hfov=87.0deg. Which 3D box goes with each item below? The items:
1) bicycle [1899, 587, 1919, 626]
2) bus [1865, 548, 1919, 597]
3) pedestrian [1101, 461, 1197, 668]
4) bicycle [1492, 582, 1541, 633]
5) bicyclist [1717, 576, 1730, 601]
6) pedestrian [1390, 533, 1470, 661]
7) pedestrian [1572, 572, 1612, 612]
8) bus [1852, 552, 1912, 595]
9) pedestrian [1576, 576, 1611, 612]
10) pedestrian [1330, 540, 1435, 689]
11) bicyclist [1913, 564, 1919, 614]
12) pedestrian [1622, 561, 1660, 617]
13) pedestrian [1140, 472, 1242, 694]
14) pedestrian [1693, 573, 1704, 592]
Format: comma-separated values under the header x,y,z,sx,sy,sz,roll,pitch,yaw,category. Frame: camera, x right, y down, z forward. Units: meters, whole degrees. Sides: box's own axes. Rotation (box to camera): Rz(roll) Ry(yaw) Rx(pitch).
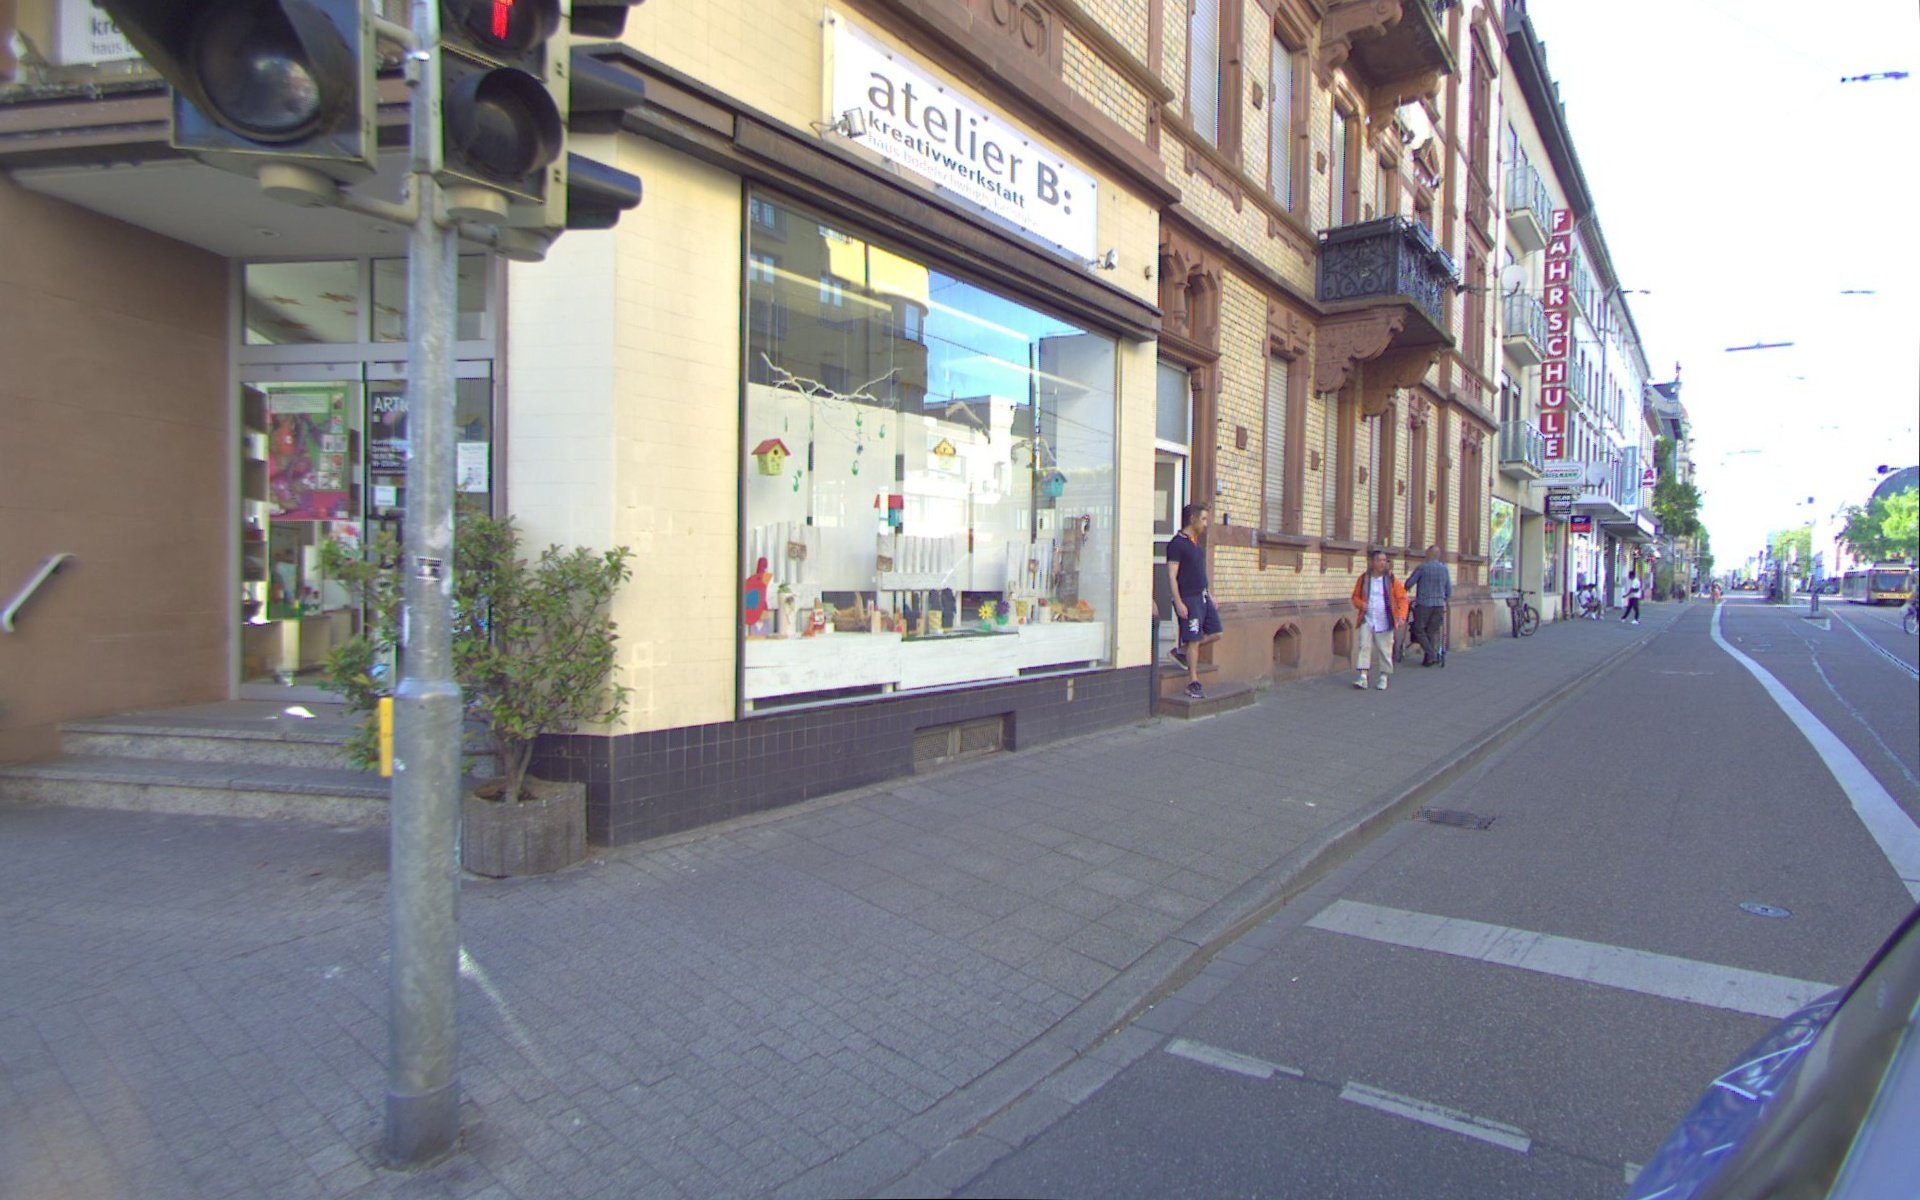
x,y,z,sx,sy,sz,roll,pitch,yaw,category
31.062,0.217,32.044,1.802,1.184,0.682,1,5,10,bicycle
74.296,-2.169,80.317,2.807,3.611,13.488,2,2,39,bus
1.849,-0.349,9.880,0.513,1.928,0.586,8,4,39,pedestrian
12.764,0.156,23.177,0.554,1.073,2.279,5,4,38,bicycle
51.545,-0.792,68.302,0.673,1.634,0.826,1,1,37,bicyclist
7.114,-0.060,15.326,0.804,1.821,0.751,7,4,38,pedestrian
22.058,-0.287,35.342,0.816,1.270,0.707,6,4,3,pedestrian
82.498,-2.405,90.742,2.806,3.611,13.492,2,2,38,bus
22.664,-0.224,36.215,0.698,1.188,1.010,7,5,19,pedestrian
5.068,0.158,12.136,0.797,1.646,0.814,8,4,39,pedestrian
30.960,-0.332,32.020,0.824,1.567,0.690,1,5,10,bicyclist
23.469,-0.375,34.867,0.666,1.833,0.708,2,5,-36,pedestrian
2.111,-0.160,9.248,0.513,1.928,0.586,8,4,39,pedestrian
71.095,-1.708,97.406,0.804,1.822,0.751,2,2,39,pedestrian
